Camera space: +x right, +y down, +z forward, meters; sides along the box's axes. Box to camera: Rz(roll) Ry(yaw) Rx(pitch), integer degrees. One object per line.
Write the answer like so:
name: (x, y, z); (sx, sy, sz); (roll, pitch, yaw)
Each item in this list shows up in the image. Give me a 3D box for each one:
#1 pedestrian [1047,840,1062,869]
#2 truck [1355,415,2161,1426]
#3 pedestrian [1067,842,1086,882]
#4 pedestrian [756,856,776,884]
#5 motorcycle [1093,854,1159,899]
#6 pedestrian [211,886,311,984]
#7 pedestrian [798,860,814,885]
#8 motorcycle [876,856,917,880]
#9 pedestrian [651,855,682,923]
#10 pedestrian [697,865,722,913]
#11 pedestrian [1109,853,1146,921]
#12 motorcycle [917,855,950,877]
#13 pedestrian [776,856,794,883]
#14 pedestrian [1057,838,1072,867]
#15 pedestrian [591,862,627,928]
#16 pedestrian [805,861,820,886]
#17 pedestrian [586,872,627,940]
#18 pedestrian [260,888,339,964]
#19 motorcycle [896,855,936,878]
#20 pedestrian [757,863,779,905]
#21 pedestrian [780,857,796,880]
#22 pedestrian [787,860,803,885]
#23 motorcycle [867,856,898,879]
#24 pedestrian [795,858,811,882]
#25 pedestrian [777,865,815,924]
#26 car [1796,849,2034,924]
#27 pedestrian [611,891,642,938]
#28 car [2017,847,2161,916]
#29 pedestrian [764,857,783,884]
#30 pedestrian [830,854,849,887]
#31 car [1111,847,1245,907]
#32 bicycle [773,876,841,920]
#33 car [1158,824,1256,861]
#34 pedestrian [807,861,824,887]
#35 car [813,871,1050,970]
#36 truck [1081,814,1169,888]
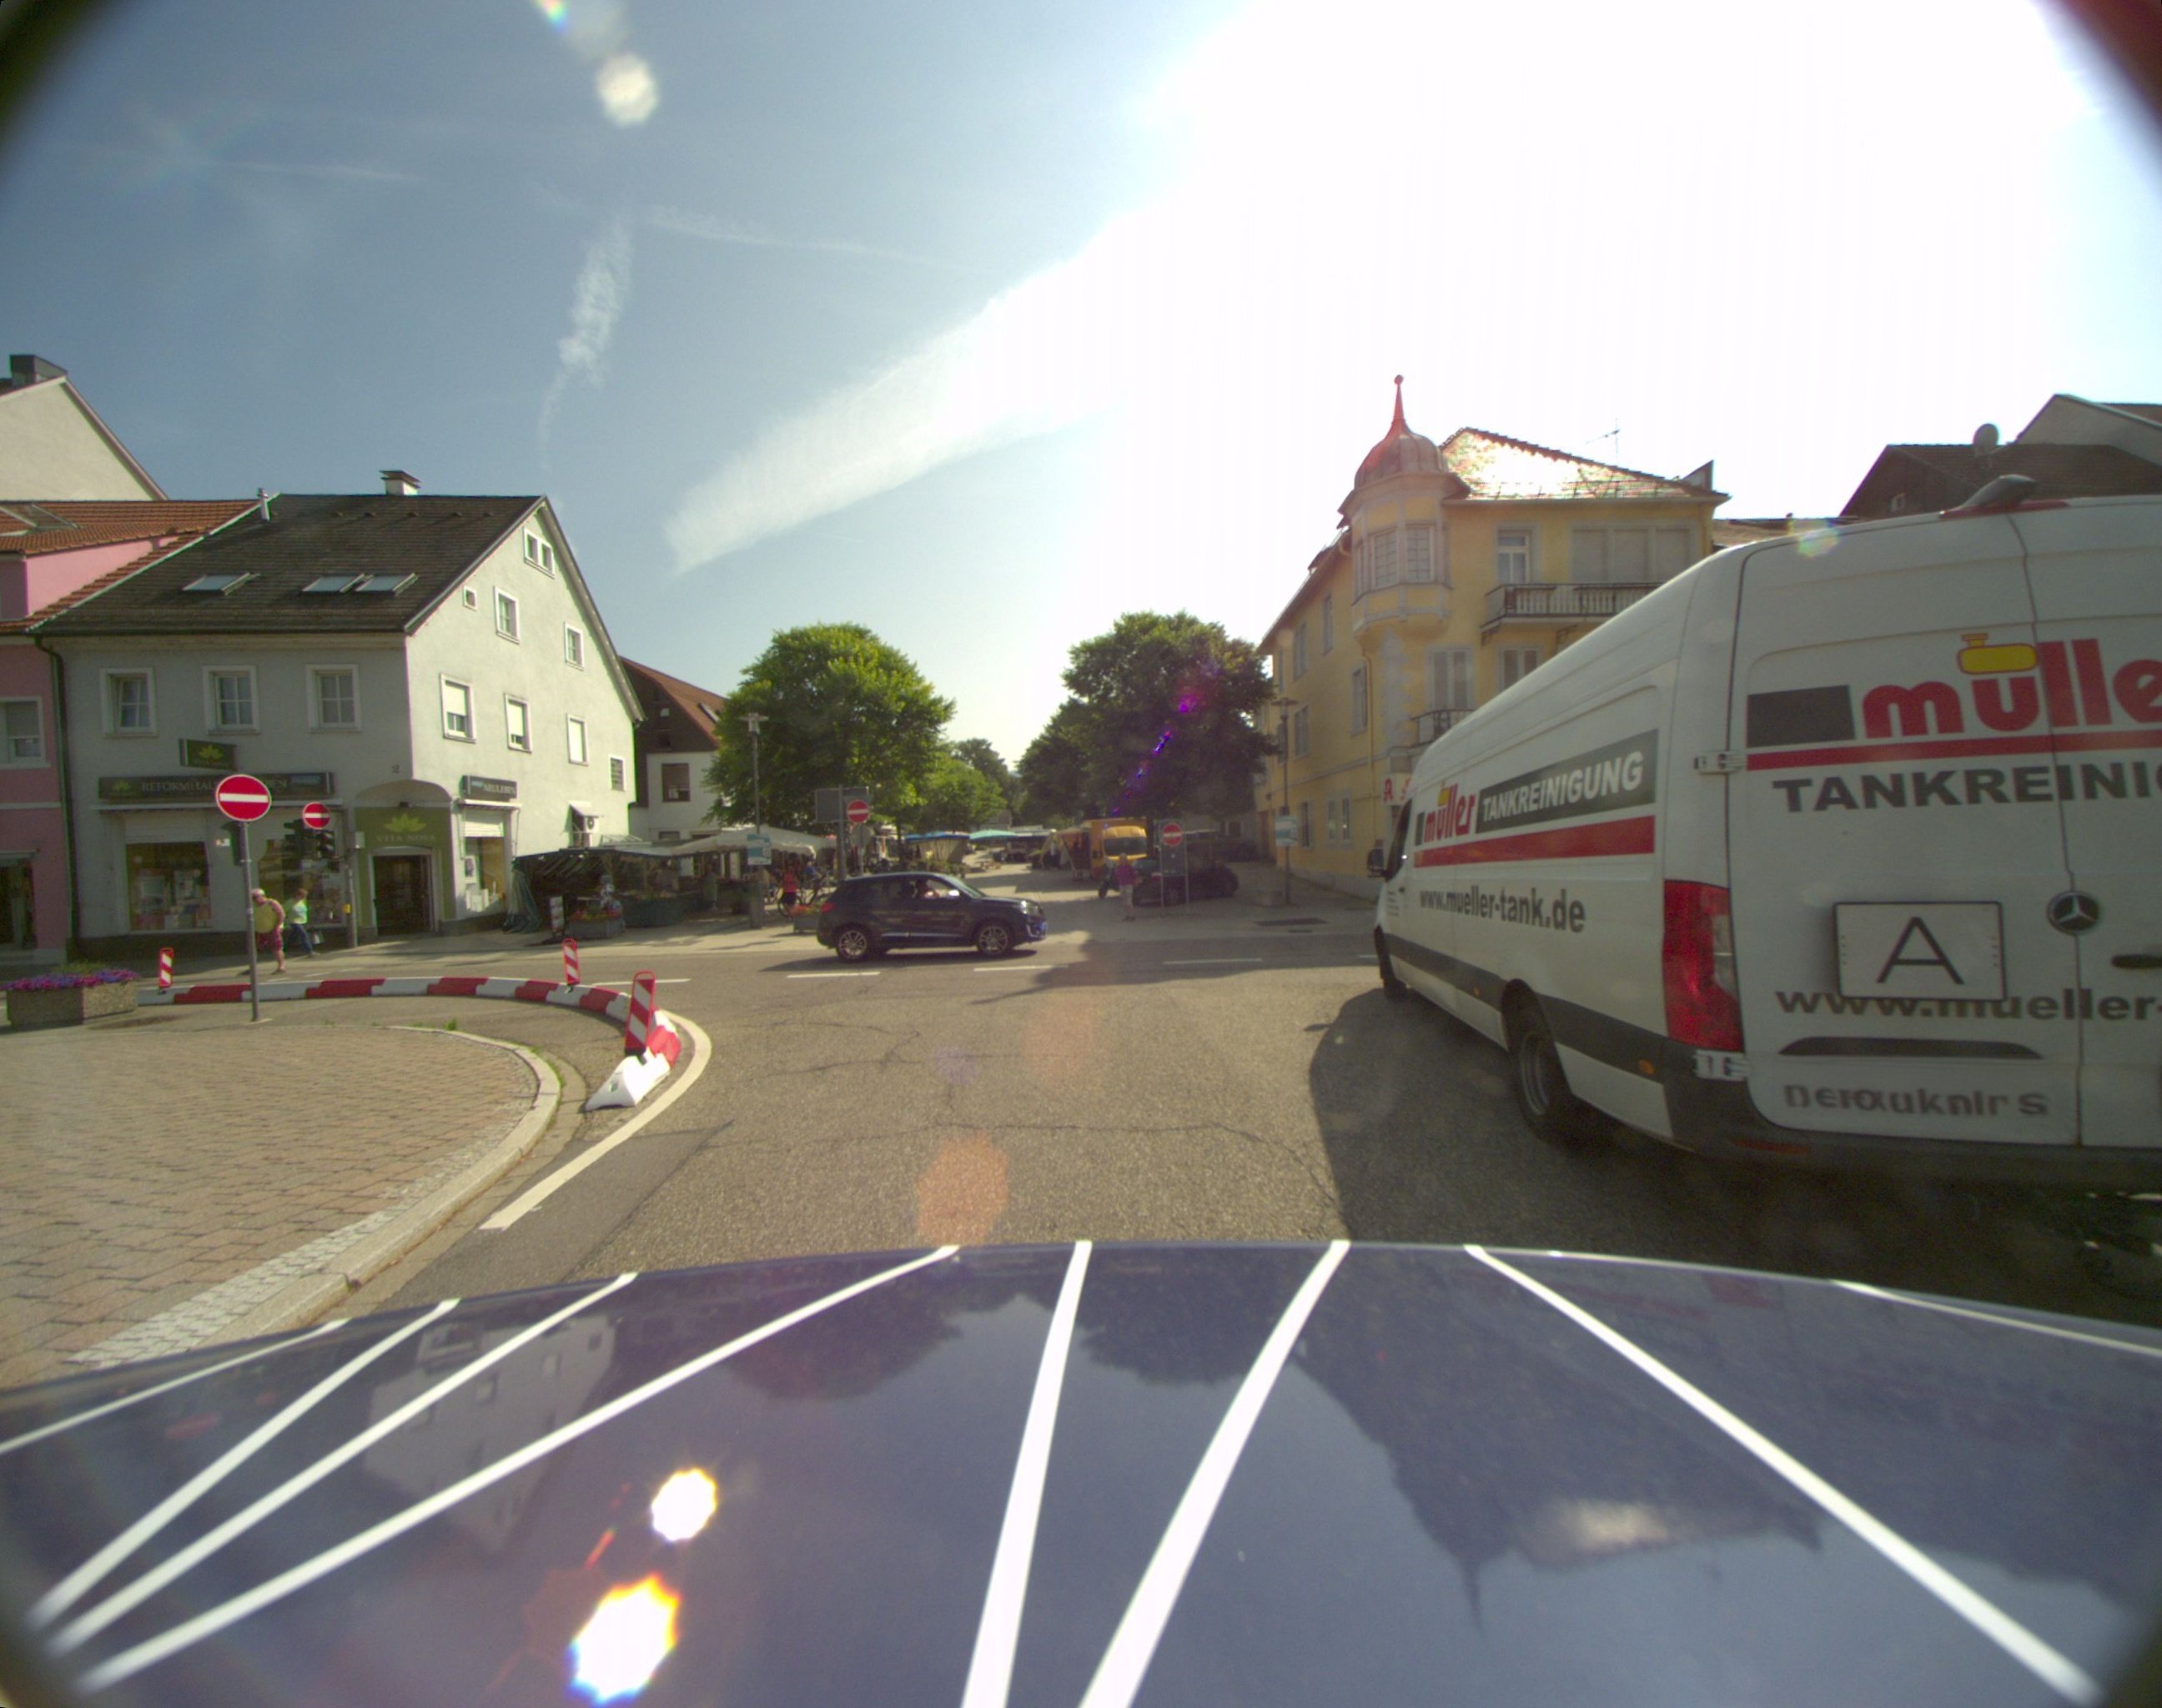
pedestrian: (-1.603, 0.019, 45.819); (0.682, 1.672, 0.582); (-4, 1, -17)
truck: (3.637, 0.234, 5.502); (2.108, 2.682, 7.141); (-1, -1, 12)
pedestrian: (-0.206, 0.345, 34.810); (0.681, 1.777, 0.726); (-4, 2, -6)
pedestrian: (-15.133, 0.752, 36.533); (0.626, 1.323, 0.699); (1, 2, 2)
motorcycle: (1.545, 0.767, 26.346); (2.086, 1.353, 0.888); (-4, 1, -3)
pedestrian: (-16.309, 1.580, 15.150); (0.908, 1.804, 1.020); (-2, 0, -15)
pedestrian: (-13.646, 0.911, 37.689); (0.572, 1.194, 0.650); (1, 2, -1)
motorcycle: (-9.787, 0.724, 40.371); (2.002, 1.189, 0.644); (1, 2, 12)
pedestrian: (-12.490, 1.037, 22.924); (0.708, 1.973, 0.651); (-2, 1, -23)
pedestrian: (-12.633, 1.178, 25.848); (0.522, 1.617, 0.707); (-1, 1, -6)
pedestrian: (1.209, 0.855, 19.742); (0.678, 1.705, 0.618); (-1, 2, 34)
motorcycle: (-8.166, 0.652, 41.924); (1.999, 1.189, 0.645); (2, 2, 40)
pedestrian: (-15.005, 0.799, 38.558); (0.626, 1.323, 0.699); (1, 2, 2)
pedestrian: (-0.988, -0.110, 45.372); (0.682, 1.672, 0.582); (-4, 3, -18)
pedestrian: (-14.301, 1.227, 23.034); (0.507, 1.959, 0.708); (-1, 1, 25)
pedestrian: (-12.829, 0.930, 36.335); (0.572, 1.194, 0.650); (0, 2, -12)
pedestrian: (-12.394, 1.342, 19.861); (0.789, 1.714, 0.706); (-2, 1, -27)
pedestrian: (-18.007, 1.652, 17.529); (0.858, 1.623, 0.788); (-2, 4, -1)
motorcycle: (-8.888, 0.687, 41.021); (2.002, 1.189, 0.644); (1, 1, 12)
pedestrian: (-11.413, 1.077, 27.718); (0.622, 1.509, 0.632); (-2, 1, -14)
pedestrian: (-15.206, 0.758, 39.489); (0.572, 1.194, 0.650); (1, 2, -1)
pedestrian: (-13.877, 0.904, 36.877); (0.572, 1.194, 0.650); (1, 2, -1)
motorcycle: (-10.804, 0.725, 41.407); (1.532, 1.189, 0.643); (1, 1, -2)
pedestrian: (-14.493, 0.817, 39.596); (0.572, 1.194, 0.650); (1, 2, -1)
pedestrian: (-8.241, 1.162, 22.014); (0.883, 1.649, 0.572); (1, 2, -1)
car: (19.056, 0.697, 17.482); (3.566, 1.559, 1.852); (-1, 0, -3)
pedestrian: (-11.750, 1.546, 19.664); (0.623, 1.153, 0.515); (-2, 1, -29)
car: (24.173, 0.588, 17.472); (3.275, 1.439, 1.752); (-1, 0, -3)
pedestrian: (-15.175, 0.814, 37.462); (0.626, 1.323, 0.699); (1, 2, 2)
pedestrian: (-11.554, 0.784, 36.323); (0.698, 1.545, 0.572); (1, 2, 4)
car: (3.076, 0.642, 23.702); (3.965, 1.534, 1.918); (-4, 3, -41)
bicycle: (-8.373, 1.343, 23.258); (1.863, 1.228, 0.616); (-2, 1, -15)
car: (7.008, -0.637, 42.619); (5.072, 1.880, 1.999); (-1, 1, -6)
pedestrian: (-12.388, 0.920, 35.430); (0.700, 1.194, 0.571); (0, 2, -15)
car: (-2.648, 1.186, 14.108); (3.967, 1.552, 1.684); (-2, 1, 2)
truck: (1.716, -0.251, 34.041); (3.009, 2.743, 8.856); (-2, 2, -2)
